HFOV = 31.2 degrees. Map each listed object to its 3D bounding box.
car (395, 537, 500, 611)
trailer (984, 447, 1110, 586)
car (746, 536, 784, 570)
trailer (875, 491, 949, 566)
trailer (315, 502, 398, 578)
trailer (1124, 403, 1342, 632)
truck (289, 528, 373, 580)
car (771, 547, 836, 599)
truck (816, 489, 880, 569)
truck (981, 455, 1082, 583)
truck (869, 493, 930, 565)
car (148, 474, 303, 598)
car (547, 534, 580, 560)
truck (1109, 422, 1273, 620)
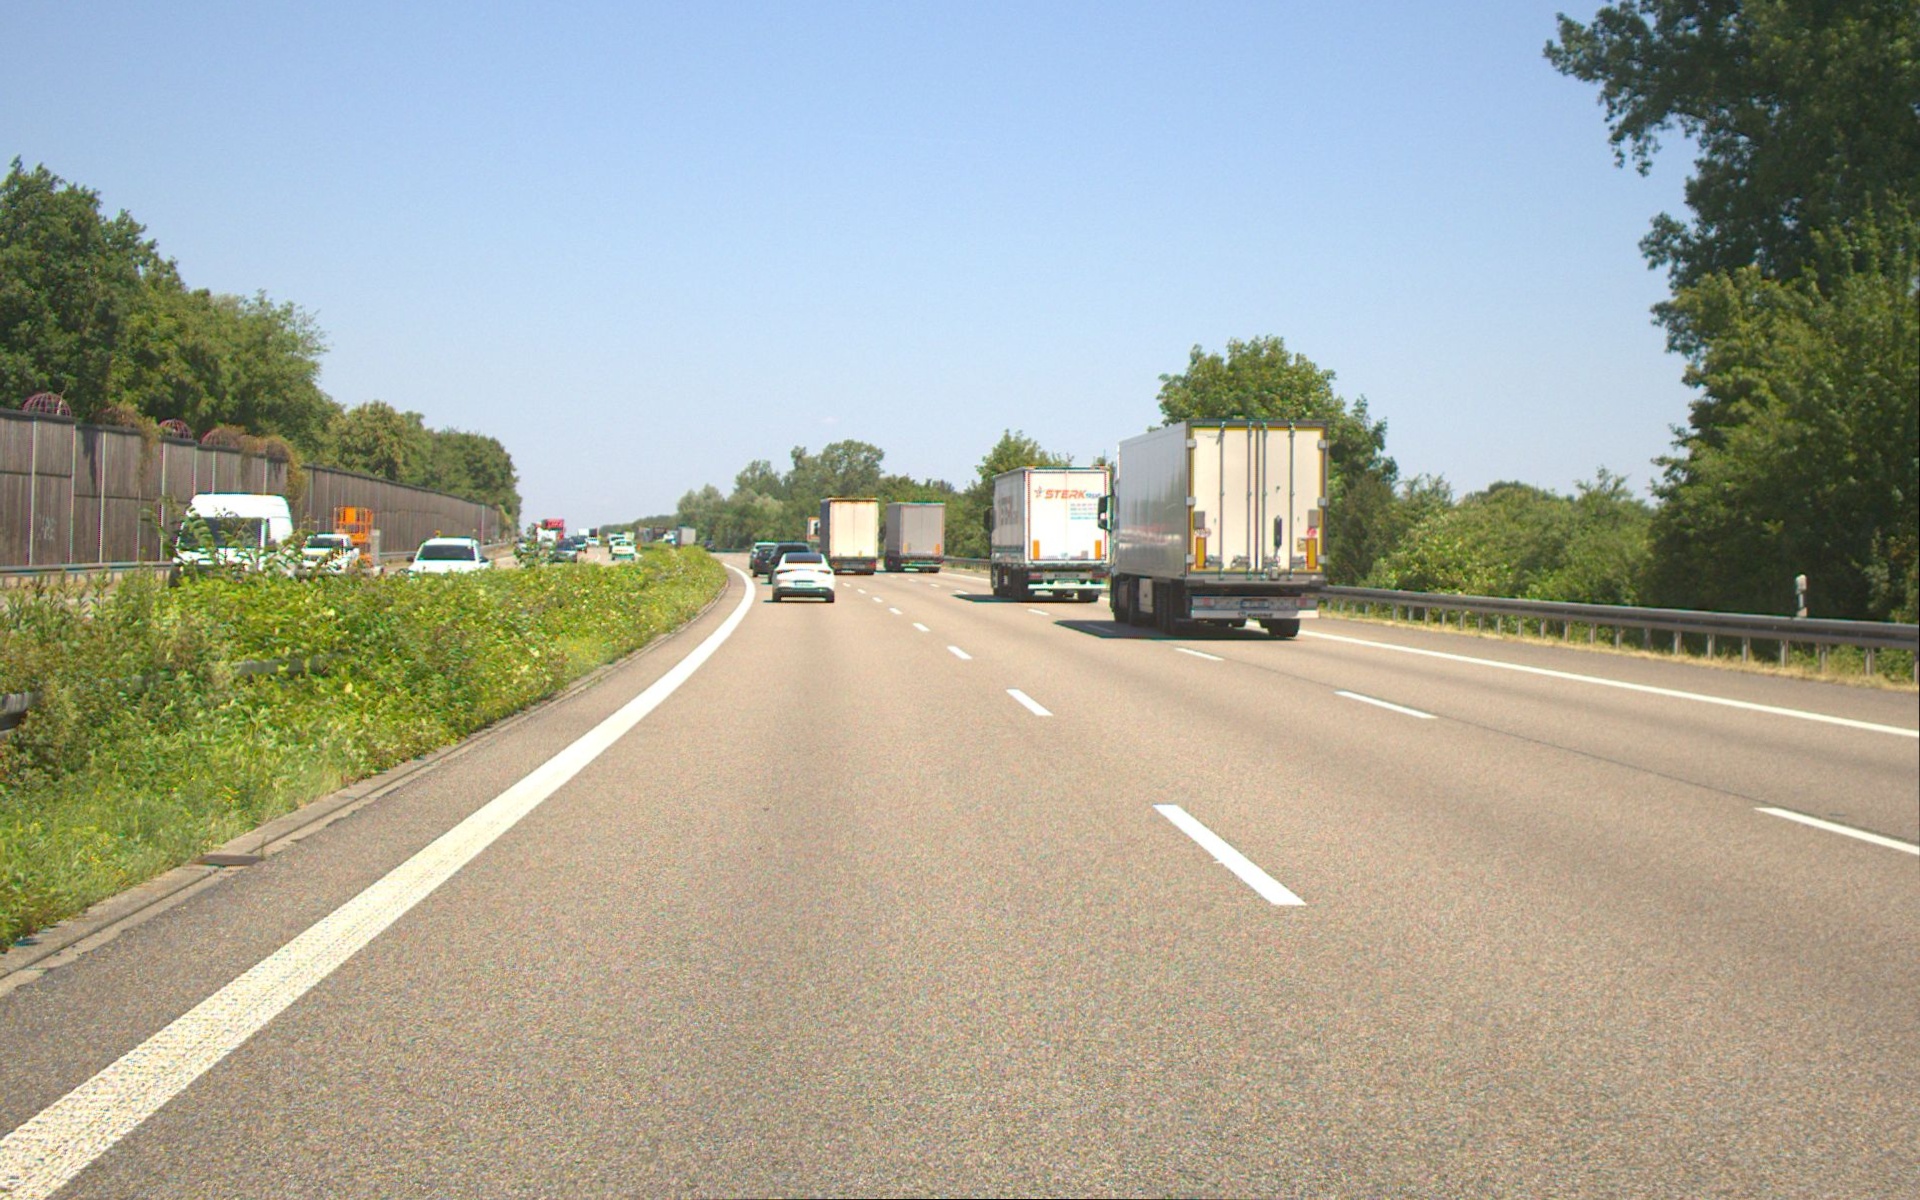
[{"bbox_3d":[-12.676,-0.671,85.294,1.995,1.714,5.025,2,1,-2],"label":"car"},{"bbox_3d":[2.650,-2.581,109.379,2.707,4.074,14.153,1,1,-4],"label":"trailer"},{"bbox_3d":[-9.624,-2.324,169.440,1.855,1.611,4.001,1,1,-3],"label":"car"},{"bbox_3d":[-2.892,-4.204,203.491,2.703,4.201,13.215,2,1,-8],"label":"trailer"},{"bbox_3d":[-22.825,-2.263,130.252,2.242,2.766,6.510,1,1,-2],"label":"trailer"},{"bbox_3d":[5.223,-1.588,68.192,2.959,4.092,12.534,1,1,-1],"label":"trailer"},{"bbox_3d":[-22.621,-1.663,123.914,2.101,1.810,6.212,1,1,-2],"label":"truck"},{"bbox_3d":[-4.659,-0.801,101.764,1.855,1.481,4.001,1,1,-3],"label":"car"},{"bbox_3d":[-6.151,-3.793,186.930,2.706,4.072,13.476,2,1,-5],"label":"truck"},{"bbox_3d":[2.340,-2.664,114.625,2.707,4.074,6.965,1,1,-4],"label":"truck"},{"bbox_3d":[-3.700,-4.293,209.532,2.690,4.201,7.840,2,0,-8],"label":"truck"},{"bbox_3d":[-16.129,-1.420,75.848,2.164,2.532,6.790,2,1,-3],"label":"car"},{"bbox_3d":[-26.190,-3.513,226.783,1.993,1.641,4.694,1,1,-9],"label":"car"},{"bbox_3d":[4.964,-1.703,74.968,2.959,4.092,6.207,1,1,-1],"label":"truck"}]
